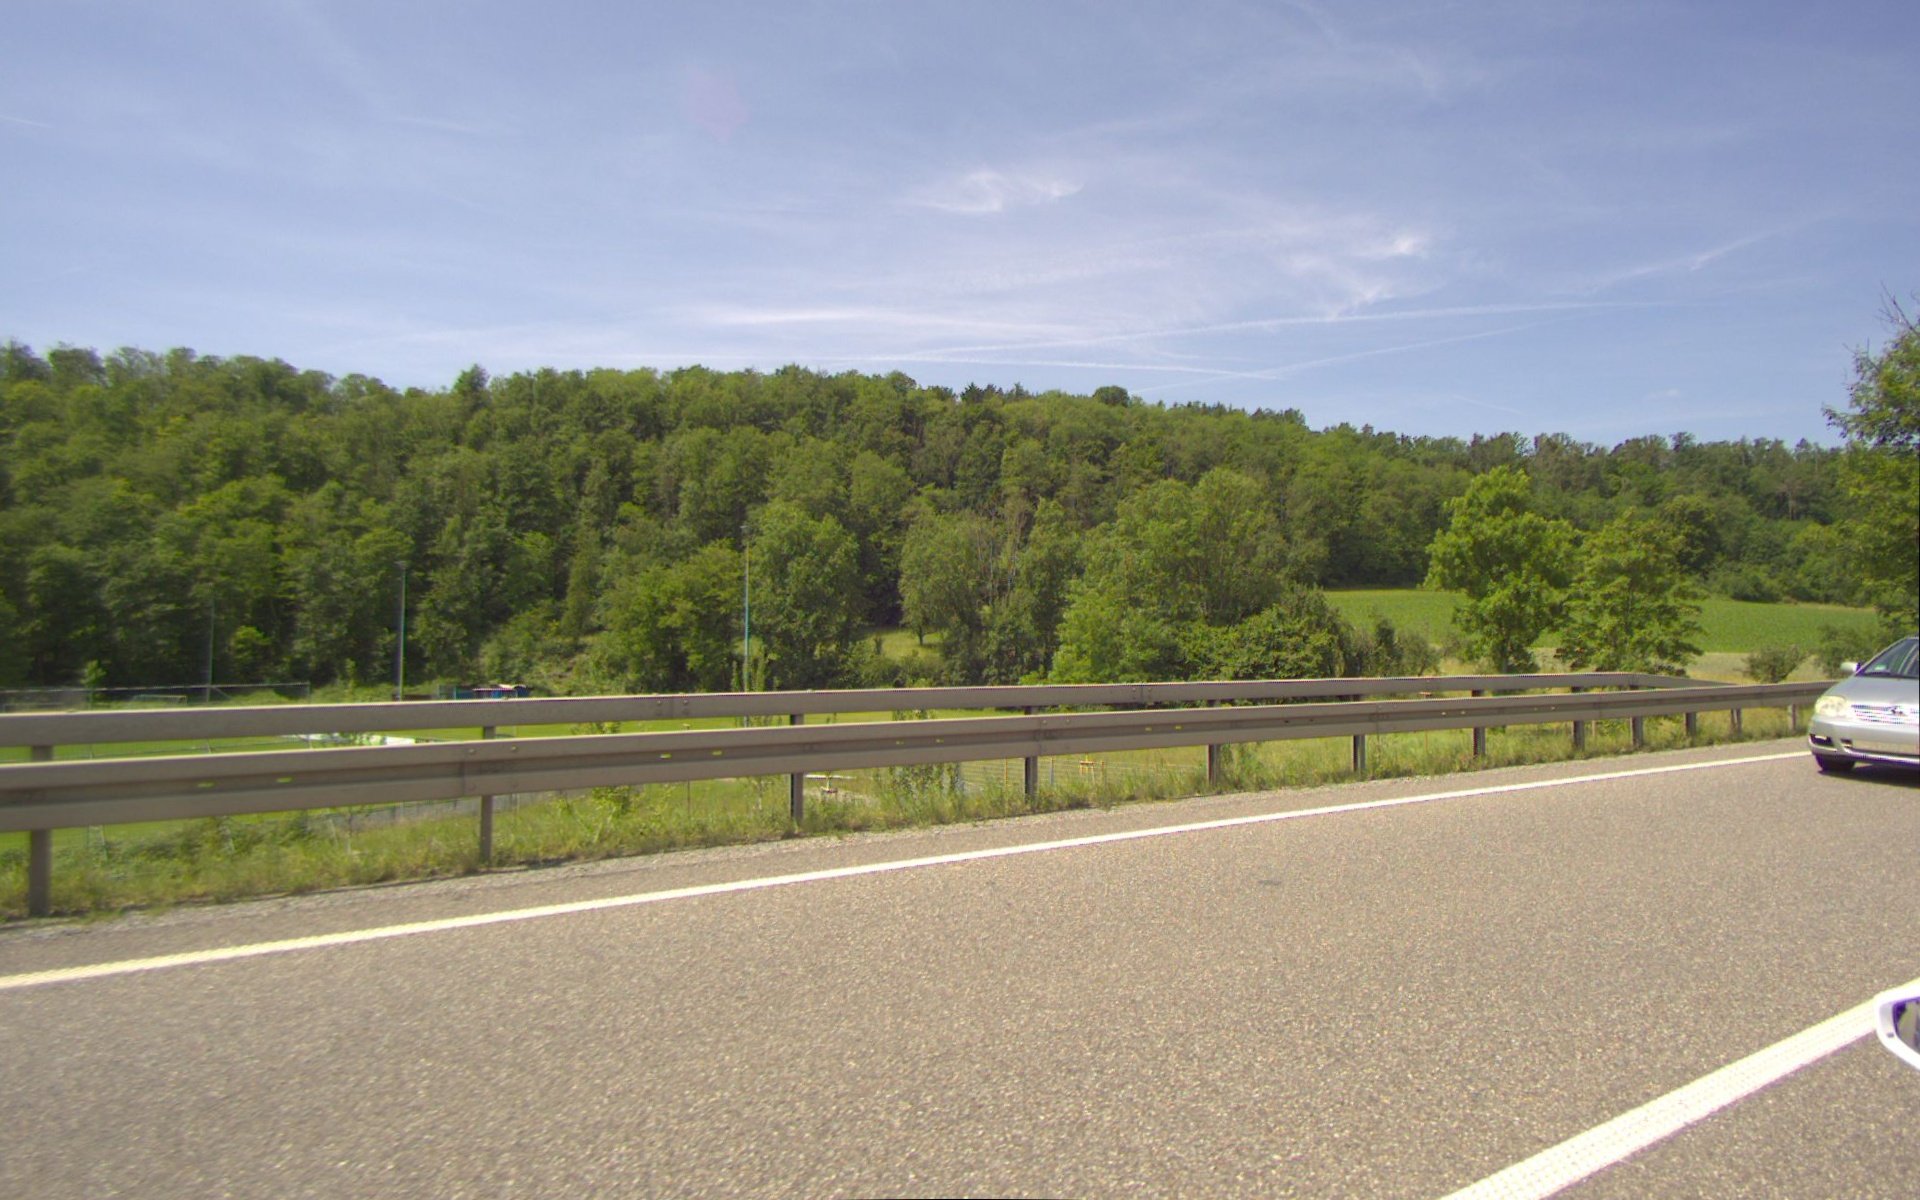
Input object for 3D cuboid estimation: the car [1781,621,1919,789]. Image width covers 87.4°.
[{"bbox_3d":[10.471,1.018,10.363,4.121,1.514,1.760,2,-1,-30],"label":"car"}]
